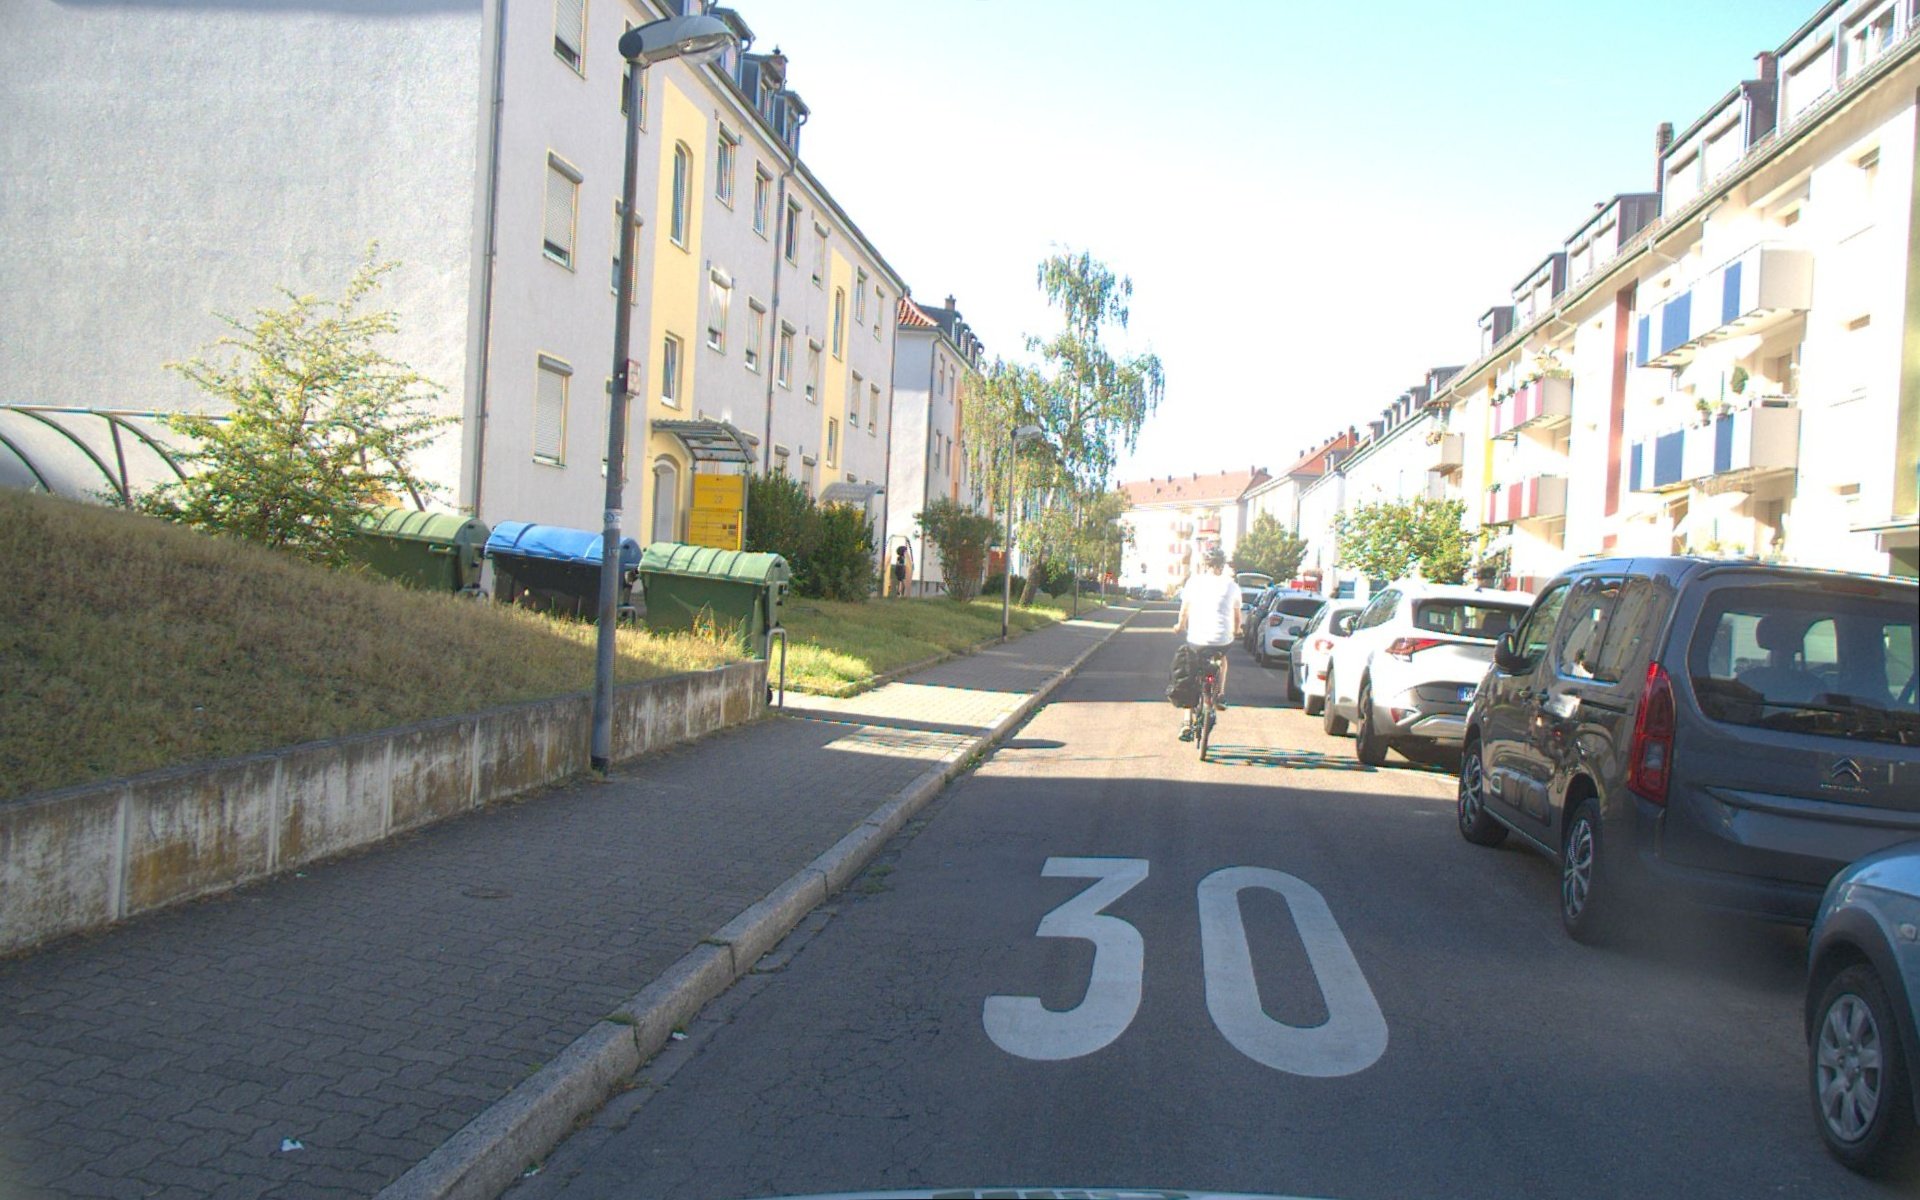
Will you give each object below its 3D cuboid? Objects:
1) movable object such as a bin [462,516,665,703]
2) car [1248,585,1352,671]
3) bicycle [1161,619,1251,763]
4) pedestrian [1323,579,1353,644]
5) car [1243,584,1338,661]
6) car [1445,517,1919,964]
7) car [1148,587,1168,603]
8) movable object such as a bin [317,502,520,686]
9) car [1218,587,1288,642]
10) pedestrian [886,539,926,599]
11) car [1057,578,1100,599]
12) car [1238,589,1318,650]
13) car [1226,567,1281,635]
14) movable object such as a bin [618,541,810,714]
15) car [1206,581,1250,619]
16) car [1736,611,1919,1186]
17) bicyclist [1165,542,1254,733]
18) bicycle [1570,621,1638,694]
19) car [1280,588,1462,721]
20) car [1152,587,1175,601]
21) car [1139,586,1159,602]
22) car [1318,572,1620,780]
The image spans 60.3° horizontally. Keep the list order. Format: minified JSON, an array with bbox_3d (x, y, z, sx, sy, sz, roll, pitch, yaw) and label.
[{"bbox_3d":[-3.777,0.079,15.878,1.467,1.651,1.264,3,0,7],"label":"movable object such as a bin"},{"bbox_3d":[6.804,0.524,33.394,1.597,1.516,3.626,5,1,6],"label":"car"},{"bbox_3d":[2.180,0.776,14.824,0.647,1.147,1.767,4,0,6],"label":"bicycle"},{"bbox_3d":[12.210,0.354,53.428,0.774,2.048,1.083,2,0,7],"label":"pedestrian"},{"bbox_3d":[7.593,0.475,38.280,1.796,1.585,4.003,3,1,7],"label":"car"},{"bbox_3d":[3.937,0.574,8.880,1.824,1.760,4.298,3,1,7],"label":"car"},{"bbox_3d":[20.489,-0.513,171.324,1.720,1.602,3.905,2,1,3],"label":"car"},{"bbox_3d":[-5.215,-0.061,16.020,1.428,1.641,1.192,3,0,7],"label":"movable object such as a bin"},{"bbox_3d":[9.039,0.418,51.314,1.854,1.522,4.095,3,1,7],"label":"car"},{"bbox_3d":[-1.462,-0.836,44.932,0.845,1.548,1.069,3,0,7],"label":"pedestrian"},{"bbox_3d":[11.179,-1.059,156.185,3.903,1.832,2.001,3,1,6],"label":"car"},{"bbox_3d":[8.403,0.478,43.945,1.796,1.460,3.755,3,1,7],"label":"car"},{"bbox_3d":[10.094,0.018,57.065,1.585,2.181,4.003,3,1,7],"label":"car"},{"bbox_3d":[-2.317,0.245,15.790,1.460,1.504,1.266,3,0,7],"label":"movable object such as a bin"},{"bbox_3d":[12.465,-0.006,77.036,1.768,1.632,4.408,3,1,7],"label":"car"},{"bbox_3d":[3.237,0.821,3.425,1.618,1.454,3.902,3,1,4],"label":"car"},{"bbox_3d":[2.214,0.326,14.771,0.679,1.624,0.792,3,0,6],"label":"bicyclist"},{"bbox_3d":[10.591,0.926,27.263,0.547,1.112,1.902,3,1,7],"label":"bicycle"},{"bbox_3d":[5.205,0.631,21.365,1.720,1.457,3.631,3,1,6],"label":"car"},{"bbox_3d":[25.011,-0.754,203.267,1.955,1.602,3.996,2,1,-5],"label":"car"},{"bbox_3d":[20.215,-0.644,176.691,1.952,1.602,4.002,2,1,4],"label":"car"},{"bbox_3d":[4.683,0.619,15.863,1.941,1.619,4.128,3,1,6],"label":"car"}]
